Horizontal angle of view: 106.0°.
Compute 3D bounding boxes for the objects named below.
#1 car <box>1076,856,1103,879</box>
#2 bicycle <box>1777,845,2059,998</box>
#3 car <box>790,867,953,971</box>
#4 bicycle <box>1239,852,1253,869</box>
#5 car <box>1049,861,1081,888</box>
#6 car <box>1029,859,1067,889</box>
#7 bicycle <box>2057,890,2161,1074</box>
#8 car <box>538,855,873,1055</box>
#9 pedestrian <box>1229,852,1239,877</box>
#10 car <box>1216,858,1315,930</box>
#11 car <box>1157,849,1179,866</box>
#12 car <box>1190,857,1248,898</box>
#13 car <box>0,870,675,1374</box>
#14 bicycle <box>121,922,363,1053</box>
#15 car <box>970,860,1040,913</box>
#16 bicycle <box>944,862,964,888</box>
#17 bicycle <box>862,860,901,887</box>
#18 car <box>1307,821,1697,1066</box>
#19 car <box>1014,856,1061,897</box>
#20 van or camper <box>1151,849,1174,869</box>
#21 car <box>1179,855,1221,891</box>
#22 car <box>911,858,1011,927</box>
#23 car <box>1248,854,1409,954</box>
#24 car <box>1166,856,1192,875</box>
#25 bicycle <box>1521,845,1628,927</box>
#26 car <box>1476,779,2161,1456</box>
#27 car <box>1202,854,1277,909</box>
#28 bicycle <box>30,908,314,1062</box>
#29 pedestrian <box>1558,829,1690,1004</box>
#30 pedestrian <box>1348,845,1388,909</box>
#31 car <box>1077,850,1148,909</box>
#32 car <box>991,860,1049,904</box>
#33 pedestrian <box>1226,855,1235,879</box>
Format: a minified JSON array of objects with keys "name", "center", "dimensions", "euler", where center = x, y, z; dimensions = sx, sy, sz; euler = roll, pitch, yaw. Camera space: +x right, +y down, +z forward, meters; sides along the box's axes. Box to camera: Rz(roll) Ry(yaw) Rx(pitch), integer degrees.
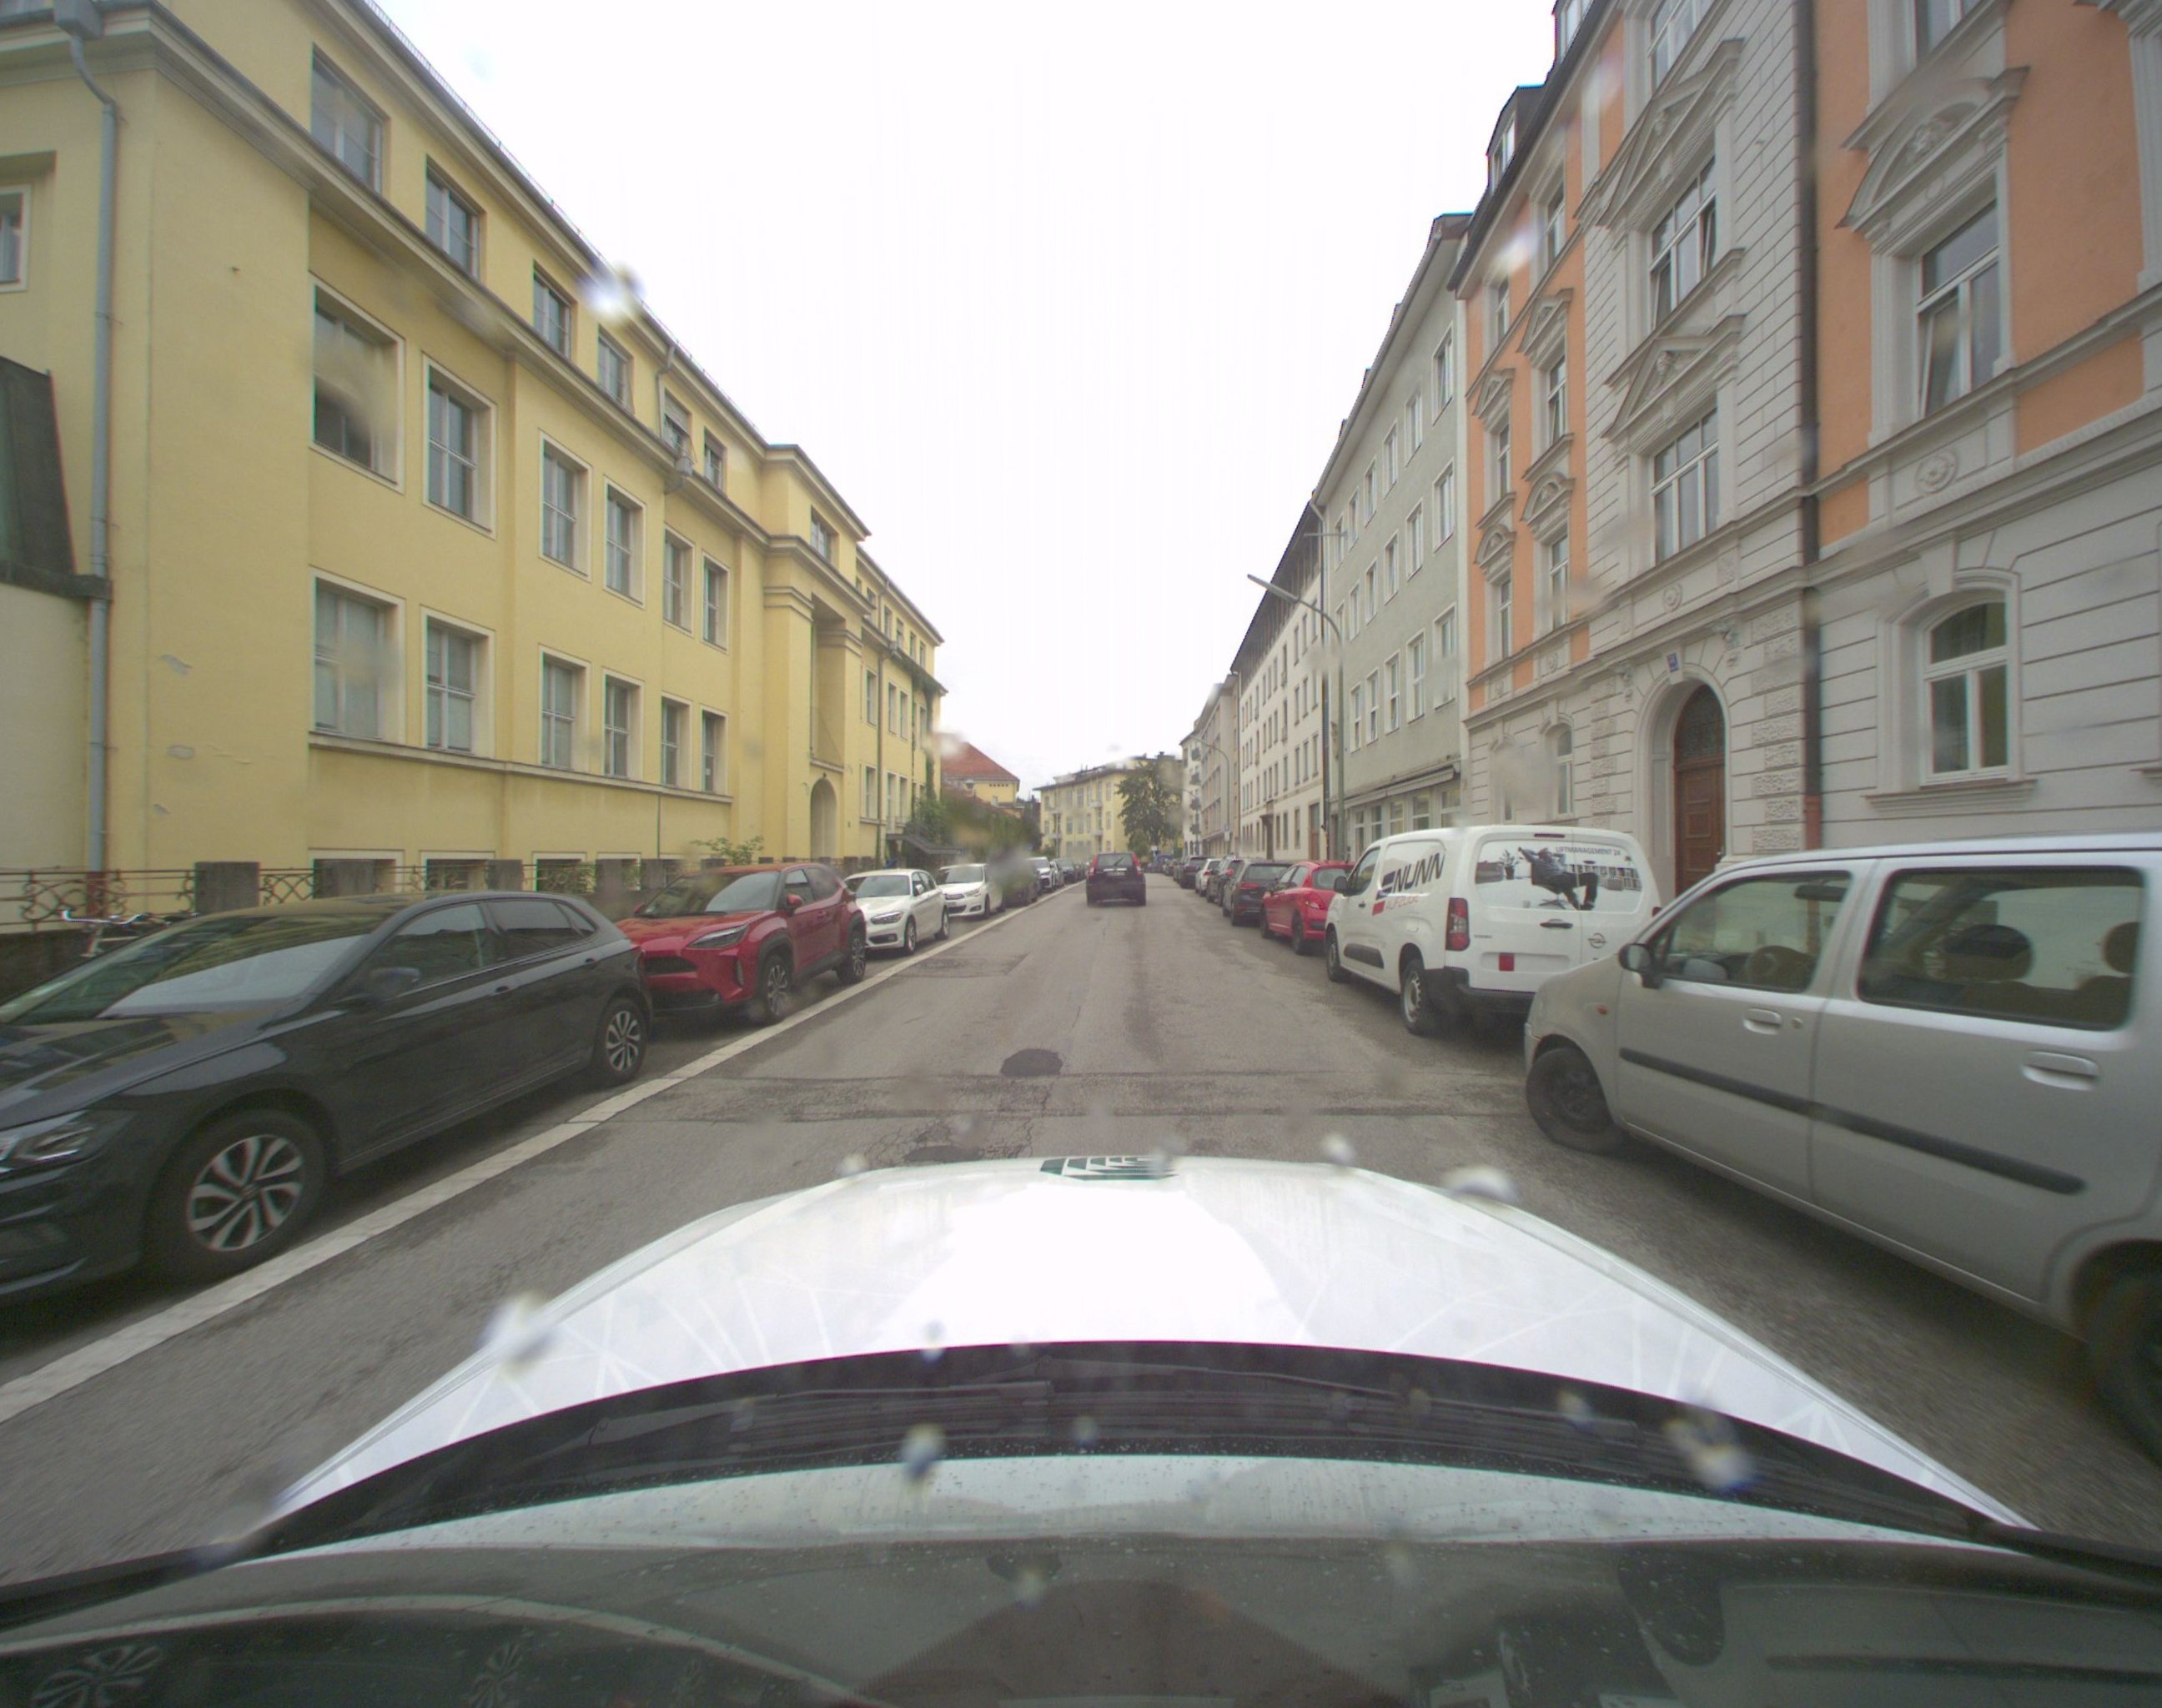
[{"name":"car","center":[0.801,1.131,72.353],"dimensions":[1.984,1.875,4.764],"euler":[-2,0,5]},{"name":"bicycle","center":[7.750,0.546,7.716],"dimensions":[0.648,1.183,2.099],"euler":[-3,1,6]},{"name":"car","center":[-3.523,1.020,14.456],"dimensions":[1.669,1.398,3.998],"euler":[-4,0,1]},{"name":"bicycle","center":[11.795,0.480,58.208],"dimensions":[0.656,1.163,2.030],"euler":[-2,0,4]},{"name":"car","center":[-0.960,1.228,50.784],"dimensions":[1.775,1.538,4.197],"euler":[-1,0,2]},{"name":"car","center":[-1.692,1.029,42.913],"dimensions":[1.673,1.426,3.896],"euler":[-1,0,2]},{"name":"bicycle","center":[7.082,0.808,4.629],"dimensions":[0.665,1.121,1.953],"euler":[-1,0,-3]},{"name":"car","center":[-3.698,0.861,8.914],"dimensions":[1.669,1.566,3.997],"euler":[-4,0,0]},{"name":"pedestrian","center":[10.308,0.697,54.923],"dimensions":[0.594,1.654,0.631],"euler":[-1,-1,4]},{"name":"car","center":[4.171,0.842,18.949],"dimensions":[1.684,1.451,4.088],"euler":[1,0,5]},{"name":"car","center":[9.745,0.346,91.468],"dimensions":[1.957,1.816,4.937],"euler":[-2,0,1]},{"name":"car","center":[5.330,0.874,31.898],"dimensions":[1.686,1.464,4.085],"euler":[1,0,2]},{"name":"car","center":[-4.050,0.890,4.364],"dimensions":[1.670,1.405,3.989],"euler":[-4,0,-1]},{"name":"bicycle","center":[-8.243,1.260,8.120],"dimensions":[0.453,0.995,1.744],"euler":[0,0,7]},{"name":"car","center":[-2.475,1.029,27.488],"dimensions":[1.673,1.495,3.989],"euler":[-4,0,3]},{"name":"bicycle","center":[-6.023,0.994,38.737],"dimensions":[0.574,1.189,1.563],"euler":[1,0,4]},{"name":"bicycle","center":[-8.891,0.860,36.353],"dimensions":[1.550,1.189,0.579],"euler":[1,0,2]},{"name":"car","center":[3.819,0.658,8.545],"dimensions":[1.832,1.786,4.900],"euler":[1,0,4]},{"name":"car","center":[-1.945,0.992,37.299],"dimensions":[1.673,1.634,4.359],"euler":[-4,0,2]},{"name":"van or camper","center":[9.687,0.607,97.025],"dimensions":[2.055,2.231,5.433],"euler":[-1,0,-2]},{"name":"car","center":[5.571,0.845,38.515],"dimensions":[1.770,1.584,4.337],"euler":[-1,0,6]},{"name":"car","center":[-3.135,0.953,22.086],"dimensions":[1.715,1.527,4.092],"euler":[-4,0,4]},{"name":"car","center":[4.099,0.750,14.185],"dimensions":[1.592,1.451,4.303],"euler":[-1,0,2]},{"name":"car","center":[8.372,0.968,69.839],"dimensions":[1.789,1.420,4.485],"euler":[-3,0,2]},{"name":"bicycle","center":[8.117,0.481,13.499],"dimensions":[0.648,1.183,2.099],"euler":[-3,1,6]},{"name":"car","center":[3.357,0.653,3.313],"dimensions":[1.600,1.642,3.627],"euler":[1,0,-3]},{"name":"car","center":[4.960,0.796,25.934],"dimensions":[1.686,1.583,4.085],"euler":[1,0,2]},{"name":"bicycle","center":[-8.701,1.181,7.944],"dimensions":[0.421,1.172,1.942],"euler":[0,0,7]},{"name":"pedestrian","center":[5.390,0.600,8.126],"dimensions":[0.857,1.662,0.648],"euler":[-1,0,3]},{"name":"pedestrian","center":[7.614,0.592,21.638],"dimensions":[0.731,1.625,0.829],"euler":[-3,0,4]},{"name":"car","center":[1.094,0.759,25.965],"dimensions":[1.986,1.694,4.386],"euler":[-1,0,5]},{"name":"car","center":[-2.359,1.079,32.591],"dimensions":[1.673,1.505,3.977],"euler":[-4,0,3]},{"name":"pedestrian","center":[9.638,0.836,52.591],"dimensions":[0.529,1.585,0.561],"euler":[-1,-1,4]}]
